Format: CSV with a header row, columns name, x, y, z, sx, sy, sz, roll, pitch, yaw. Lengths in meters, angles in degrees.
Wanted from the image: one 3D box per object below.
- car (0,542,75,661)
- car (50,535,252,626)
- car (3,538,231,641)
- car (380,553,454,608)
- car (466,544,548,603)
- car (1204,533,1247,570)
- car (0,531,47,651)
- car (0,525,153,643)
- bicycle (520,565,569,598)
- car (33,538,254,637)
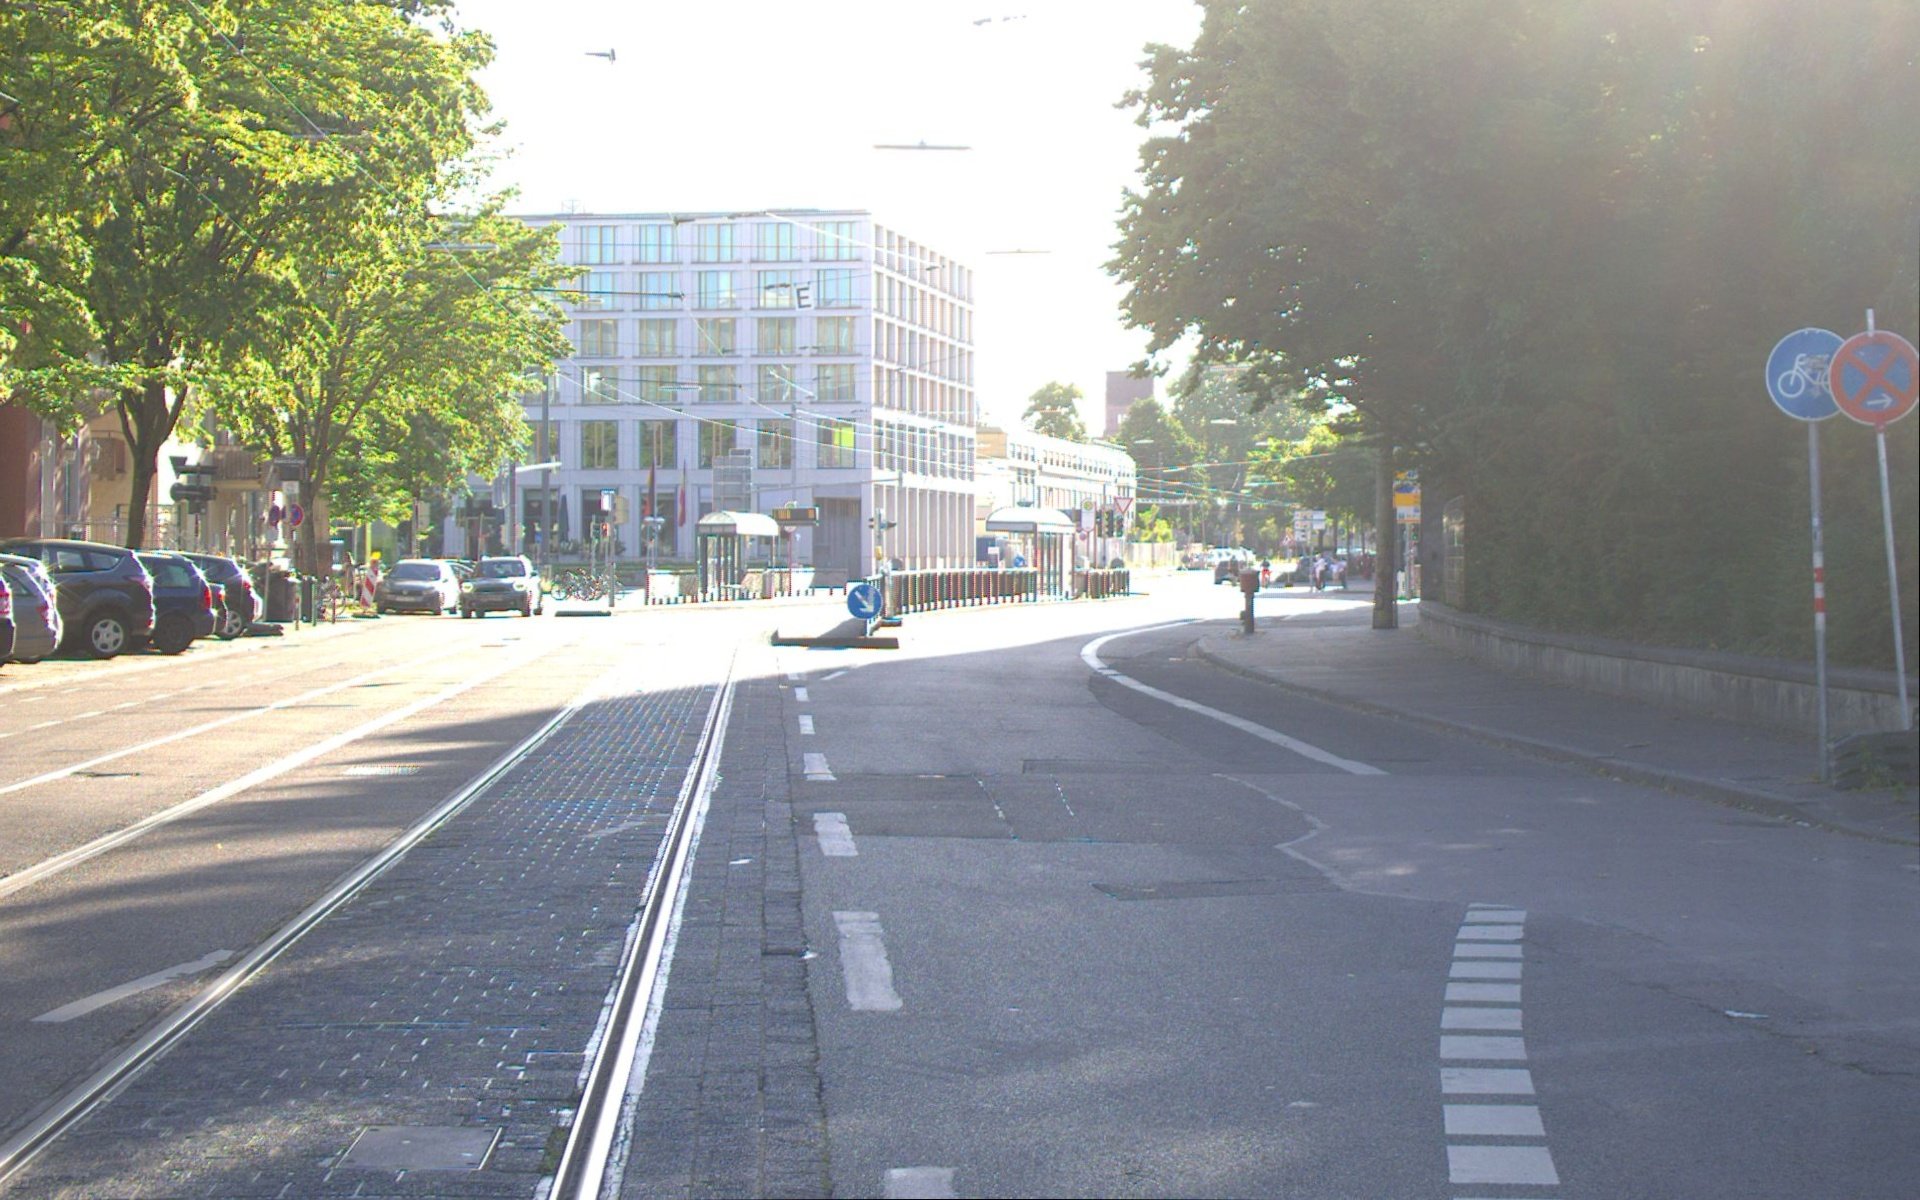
name,x,y,z,sx,sy,sz,roll,pitch,yaw
car,-12.953,0.012,43.338,3.270,1.479,1.470,0,1,-25
car,-14.421,-0.365,61.290,3.270,1.579,1.470,0,1,-25
car,-13.249,-0.180,54.034,3.270,1.579,1.470,0,1,-25
car,-14.833,-0.549,94.066,1.572,1.485,4.001,0,1,-3
car,-11.917,-0.724,90.709,1.558,1.525,4.000,0,1,1
car,14.796,-2.710,191.493,1.994,2.007,3.998,0,1,11
car,-12.665,-0.115,40.628,3.373,1.415,1.405,0,1,-31
car,-13.651,-0.244,50.471,3.270,1.692,1.470,0,1,-25
bicycle,-15.463,-0.691,127.937,1.793,1.219,0.599,0,1,-11
car,-13.312,-0.224,56.036,3.270,1.579,1.470,0,1,-25
